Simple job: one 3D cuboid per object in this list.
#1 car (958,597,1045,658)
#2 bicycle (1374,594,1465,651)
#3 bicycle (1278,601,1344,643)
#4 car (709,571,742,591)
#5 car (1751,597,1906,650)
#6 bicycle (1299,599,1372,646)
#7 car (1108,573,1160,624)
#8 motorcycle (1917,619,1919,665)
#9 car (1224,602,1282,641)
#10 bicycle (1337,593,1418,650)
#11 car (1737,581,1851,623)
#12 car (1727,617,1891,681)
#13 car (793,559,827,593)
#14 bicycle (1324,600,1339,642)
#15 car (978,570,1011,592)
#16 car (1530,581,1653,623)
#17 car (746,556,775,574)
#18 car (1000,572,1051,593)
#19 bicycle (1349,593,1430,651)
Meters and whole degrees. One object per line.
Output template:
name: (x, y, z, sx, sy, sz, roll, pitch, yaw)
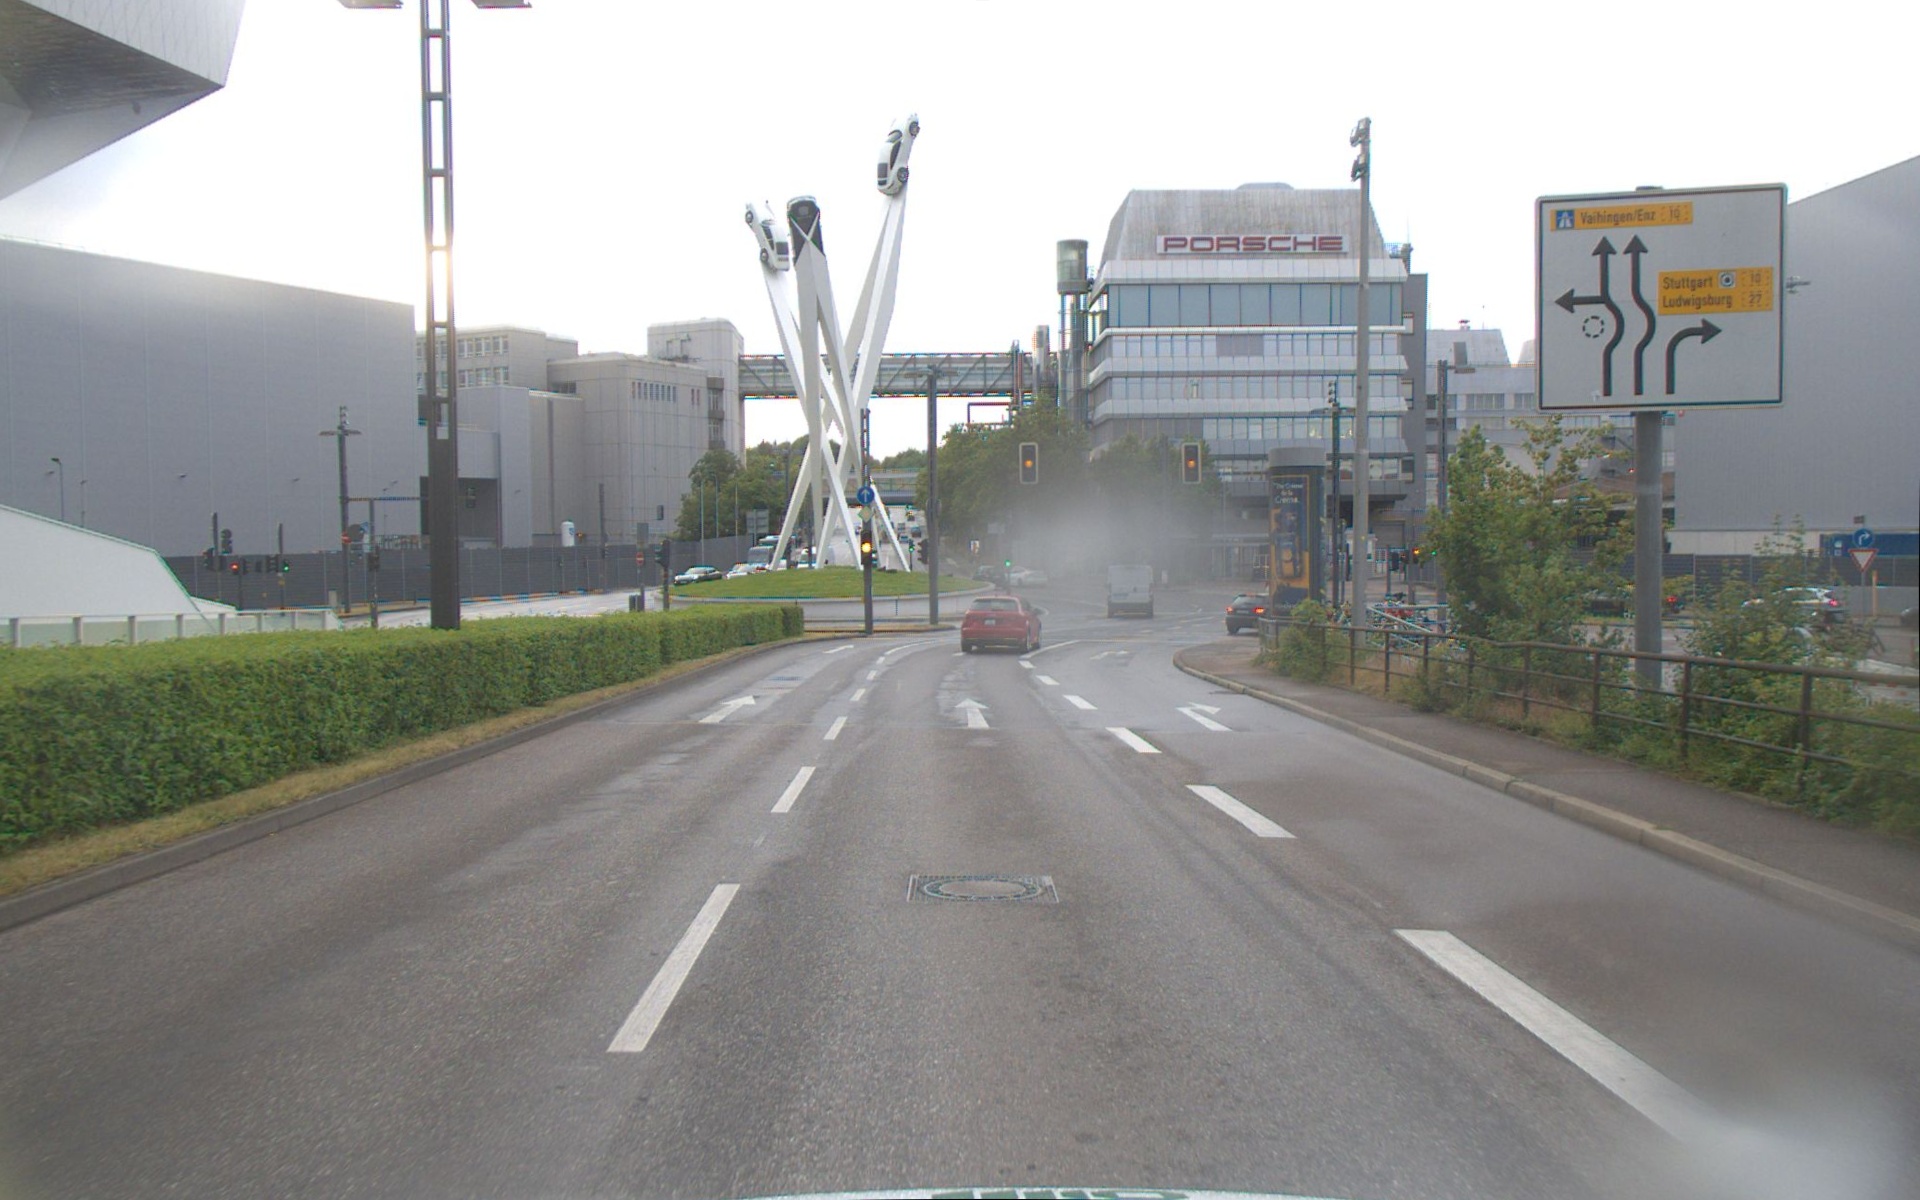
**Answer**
car: (1.106, 0.681, 42.644, 1.734, 1.490, 3.736, -1, 0, 9)
bicycle: (10.090, 0.491, 36.308, 1.895, 1.198, 0.596, -1, 0, -17)
bicycle: (9.811, 0.612, 46.255, 1.732, 1.160, 0.679, -1, -1, 6)
car: (-17.927, -1.460, 126.396, 1.795, 1.498, 4.514, -1, 1, 1)
car: (27.490, 0.719, 52.493, 1.806, 1.557, 4.135, 1, 0, -24)
bicycle: (9.831, 0.591, 43.377, 1.762, 1.182, 0.592, -2, 0, 2)
car: (7.730, -0.050, 73.380, 2.185, 2.144, 4.958, -1, 0, 7)
motorcycle: (27.007, 1.110, 44.654, 1.979, 1.210, 0.608, -2, 2, 31)
car: (10.352, 0.740, 58.271, 1.576, 1.313, 3.568, -1, 0, 17)
bicycle: (9.554, 0.478, 37.858, 1.906, 1.245, 0.593, -1, 0, -30)
car: (34.801, 0.056, 69.024, 3.909, 1.629, 1.901, 2, 2, 41)
car: (22.169, 1.272, 43.302, 3.474, 1.507, 1.695, -1, 3, 11)
car: (-11.216, -1.793, 123.791, 1.952, 2.490, 5.427, -1, 1, 1)
bicycle: (10.655, 0.593, 47.463, 0.377, 1.182, 2.002, -1, -1, 13)
car: (2.222, -1.223, 107.169, 1.528, 1.311, 3.407, -1, 0, -8)
car: (26.515, 0.066, 69.514, 4.501, 1.566, 1.748, 2, 3, 41)
car: (-16.690, -2.906, 138.478, 1.795, 1.498, 4.514, -1, 1, 1)
car: (4.305, -1.165, 109.316, 1.649, 1.323, 3.848, -1, 0, -29)
bicycle: (9.647, 0.487, 37.124, 1.907, 1.245, 0.593, -1, 0, -32)
